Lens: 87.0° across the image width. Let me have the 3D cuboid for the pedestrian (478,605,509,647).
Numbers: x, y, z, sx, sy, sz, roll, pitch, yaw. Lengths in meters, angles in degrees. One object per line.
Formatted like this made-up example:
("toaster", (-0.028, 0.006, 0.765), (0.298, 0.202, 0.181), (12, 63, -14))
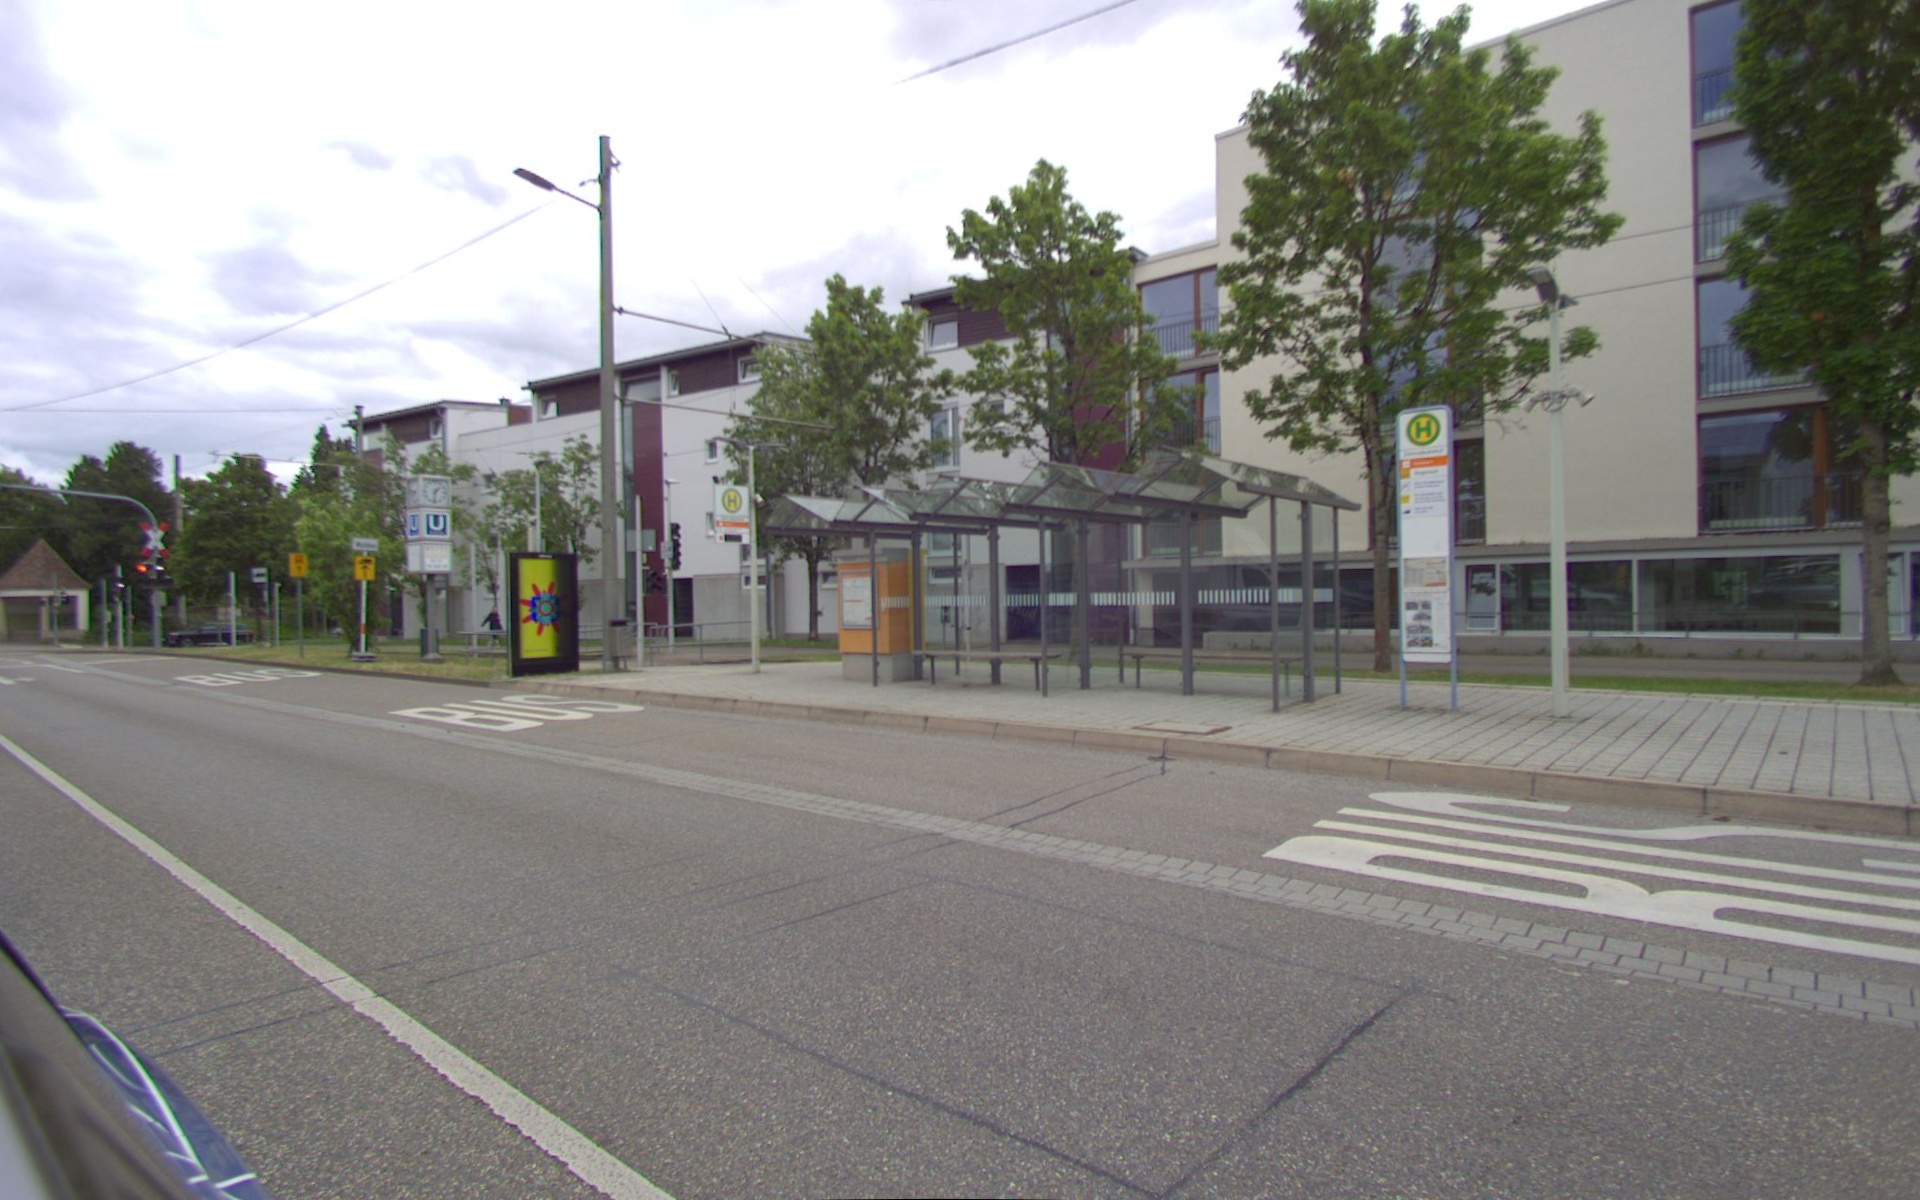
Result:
("pedestrian", (-18.154, 1.011, 39.369), (0.778, 1.607, 0.773), (-1, 0, 32))

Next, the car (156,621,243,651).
("car", (-47.003, 2.195, 62.604), (1.926, 1.719, 3.949), (-1, 0, 38))
